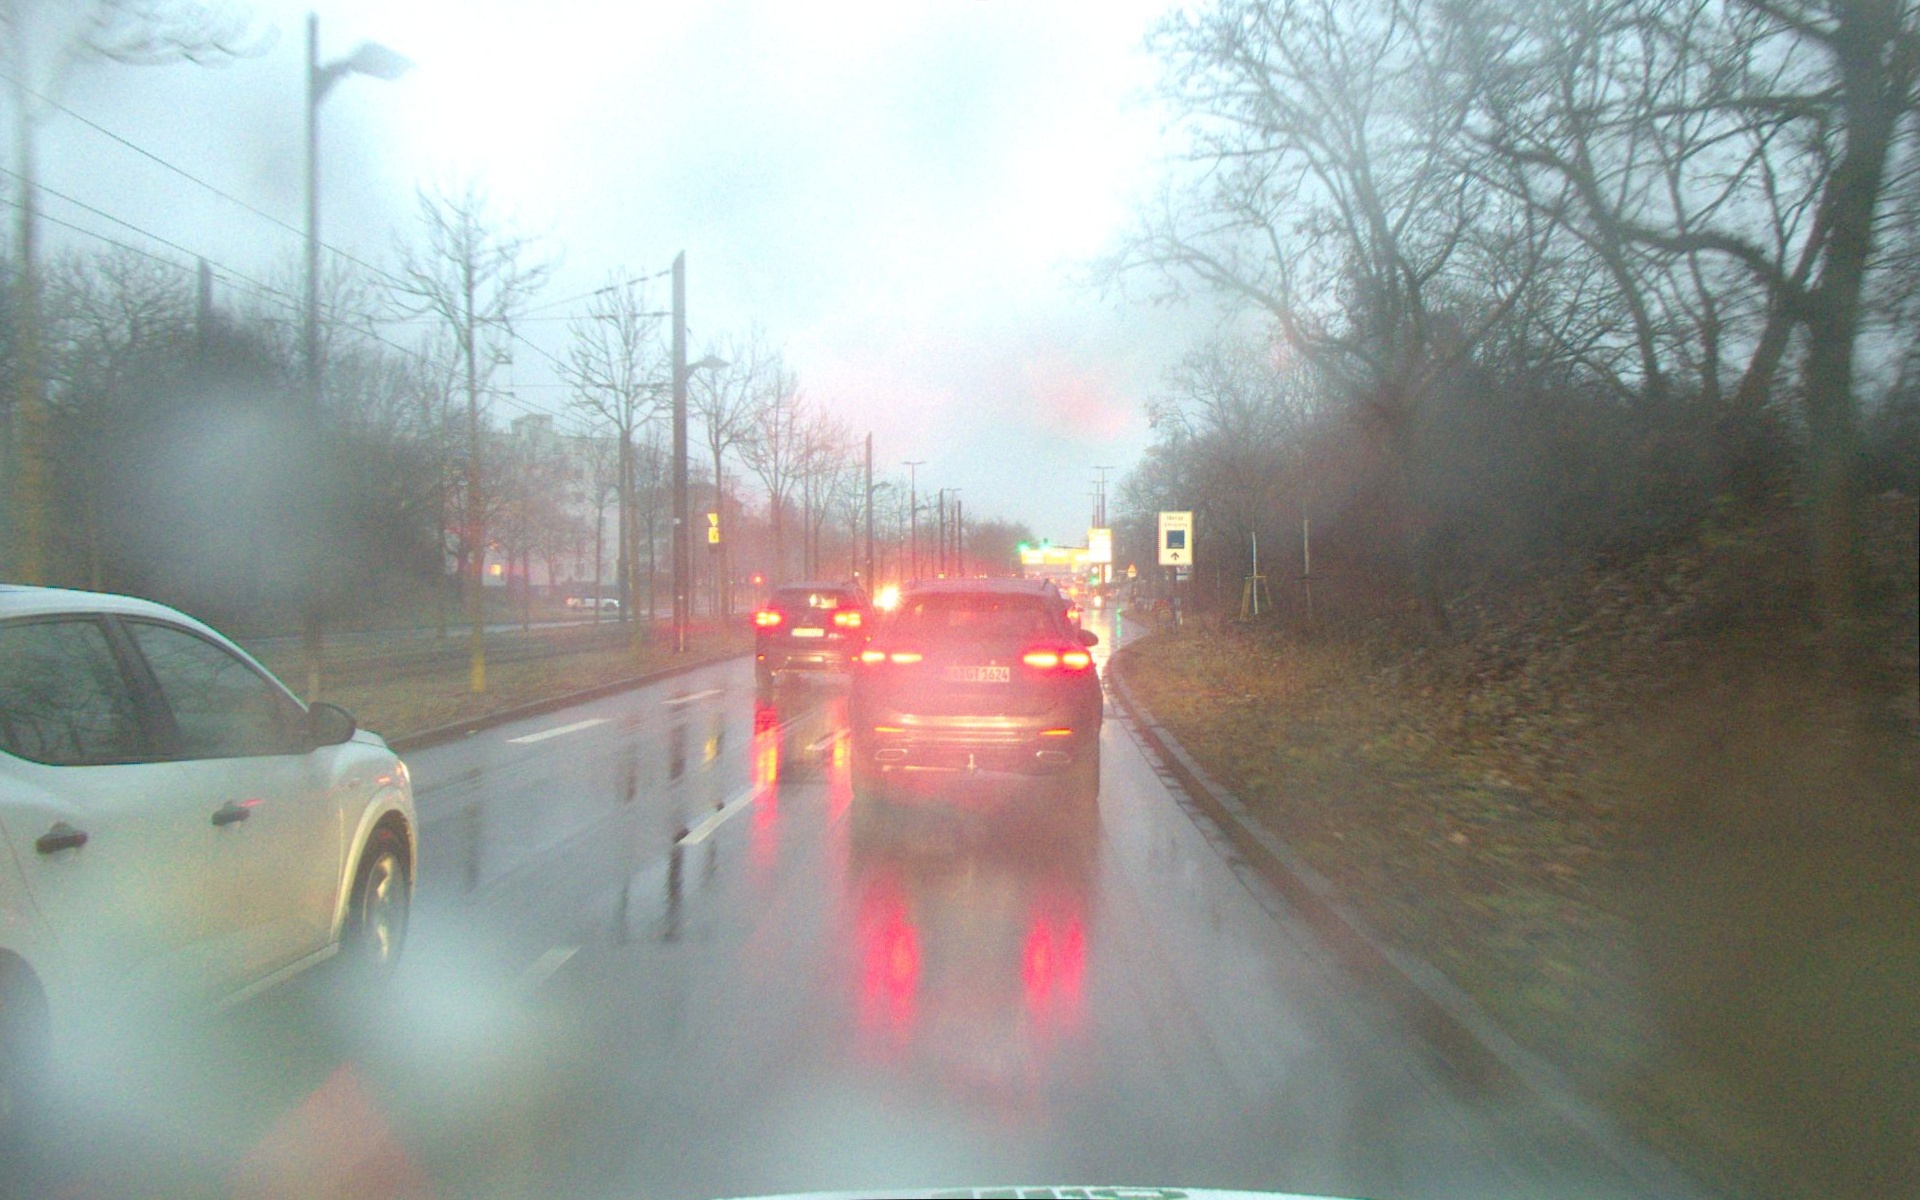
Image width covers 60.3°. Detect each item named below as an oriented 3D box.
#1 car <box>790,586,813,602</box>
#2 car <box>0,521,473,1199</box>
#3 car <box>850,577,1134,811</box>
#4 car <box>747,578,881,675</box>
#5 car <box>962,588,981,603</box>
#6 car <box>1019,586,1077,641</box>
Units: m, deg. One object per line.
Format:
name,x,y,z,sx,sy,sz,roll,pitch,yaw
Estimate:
car,-17.752,-0.696,185.779,1.952,1.687,4.002,1,0,4
car,-2.878,0.603,4.764,1.673,1.551,4.135,0,0,1
car,0.200,0.638,13.477,1.957,1.612,3.999,1,0,-1
car,-2.364,0.386,27.665,1.841,1.485,4.001,0,1,1
car,1.324,-0.491,193.951,1.952,1.695,3.838,0,0,4
car,2.604,0.390,49.834,1.673,1.585,3.997,0,0,2
